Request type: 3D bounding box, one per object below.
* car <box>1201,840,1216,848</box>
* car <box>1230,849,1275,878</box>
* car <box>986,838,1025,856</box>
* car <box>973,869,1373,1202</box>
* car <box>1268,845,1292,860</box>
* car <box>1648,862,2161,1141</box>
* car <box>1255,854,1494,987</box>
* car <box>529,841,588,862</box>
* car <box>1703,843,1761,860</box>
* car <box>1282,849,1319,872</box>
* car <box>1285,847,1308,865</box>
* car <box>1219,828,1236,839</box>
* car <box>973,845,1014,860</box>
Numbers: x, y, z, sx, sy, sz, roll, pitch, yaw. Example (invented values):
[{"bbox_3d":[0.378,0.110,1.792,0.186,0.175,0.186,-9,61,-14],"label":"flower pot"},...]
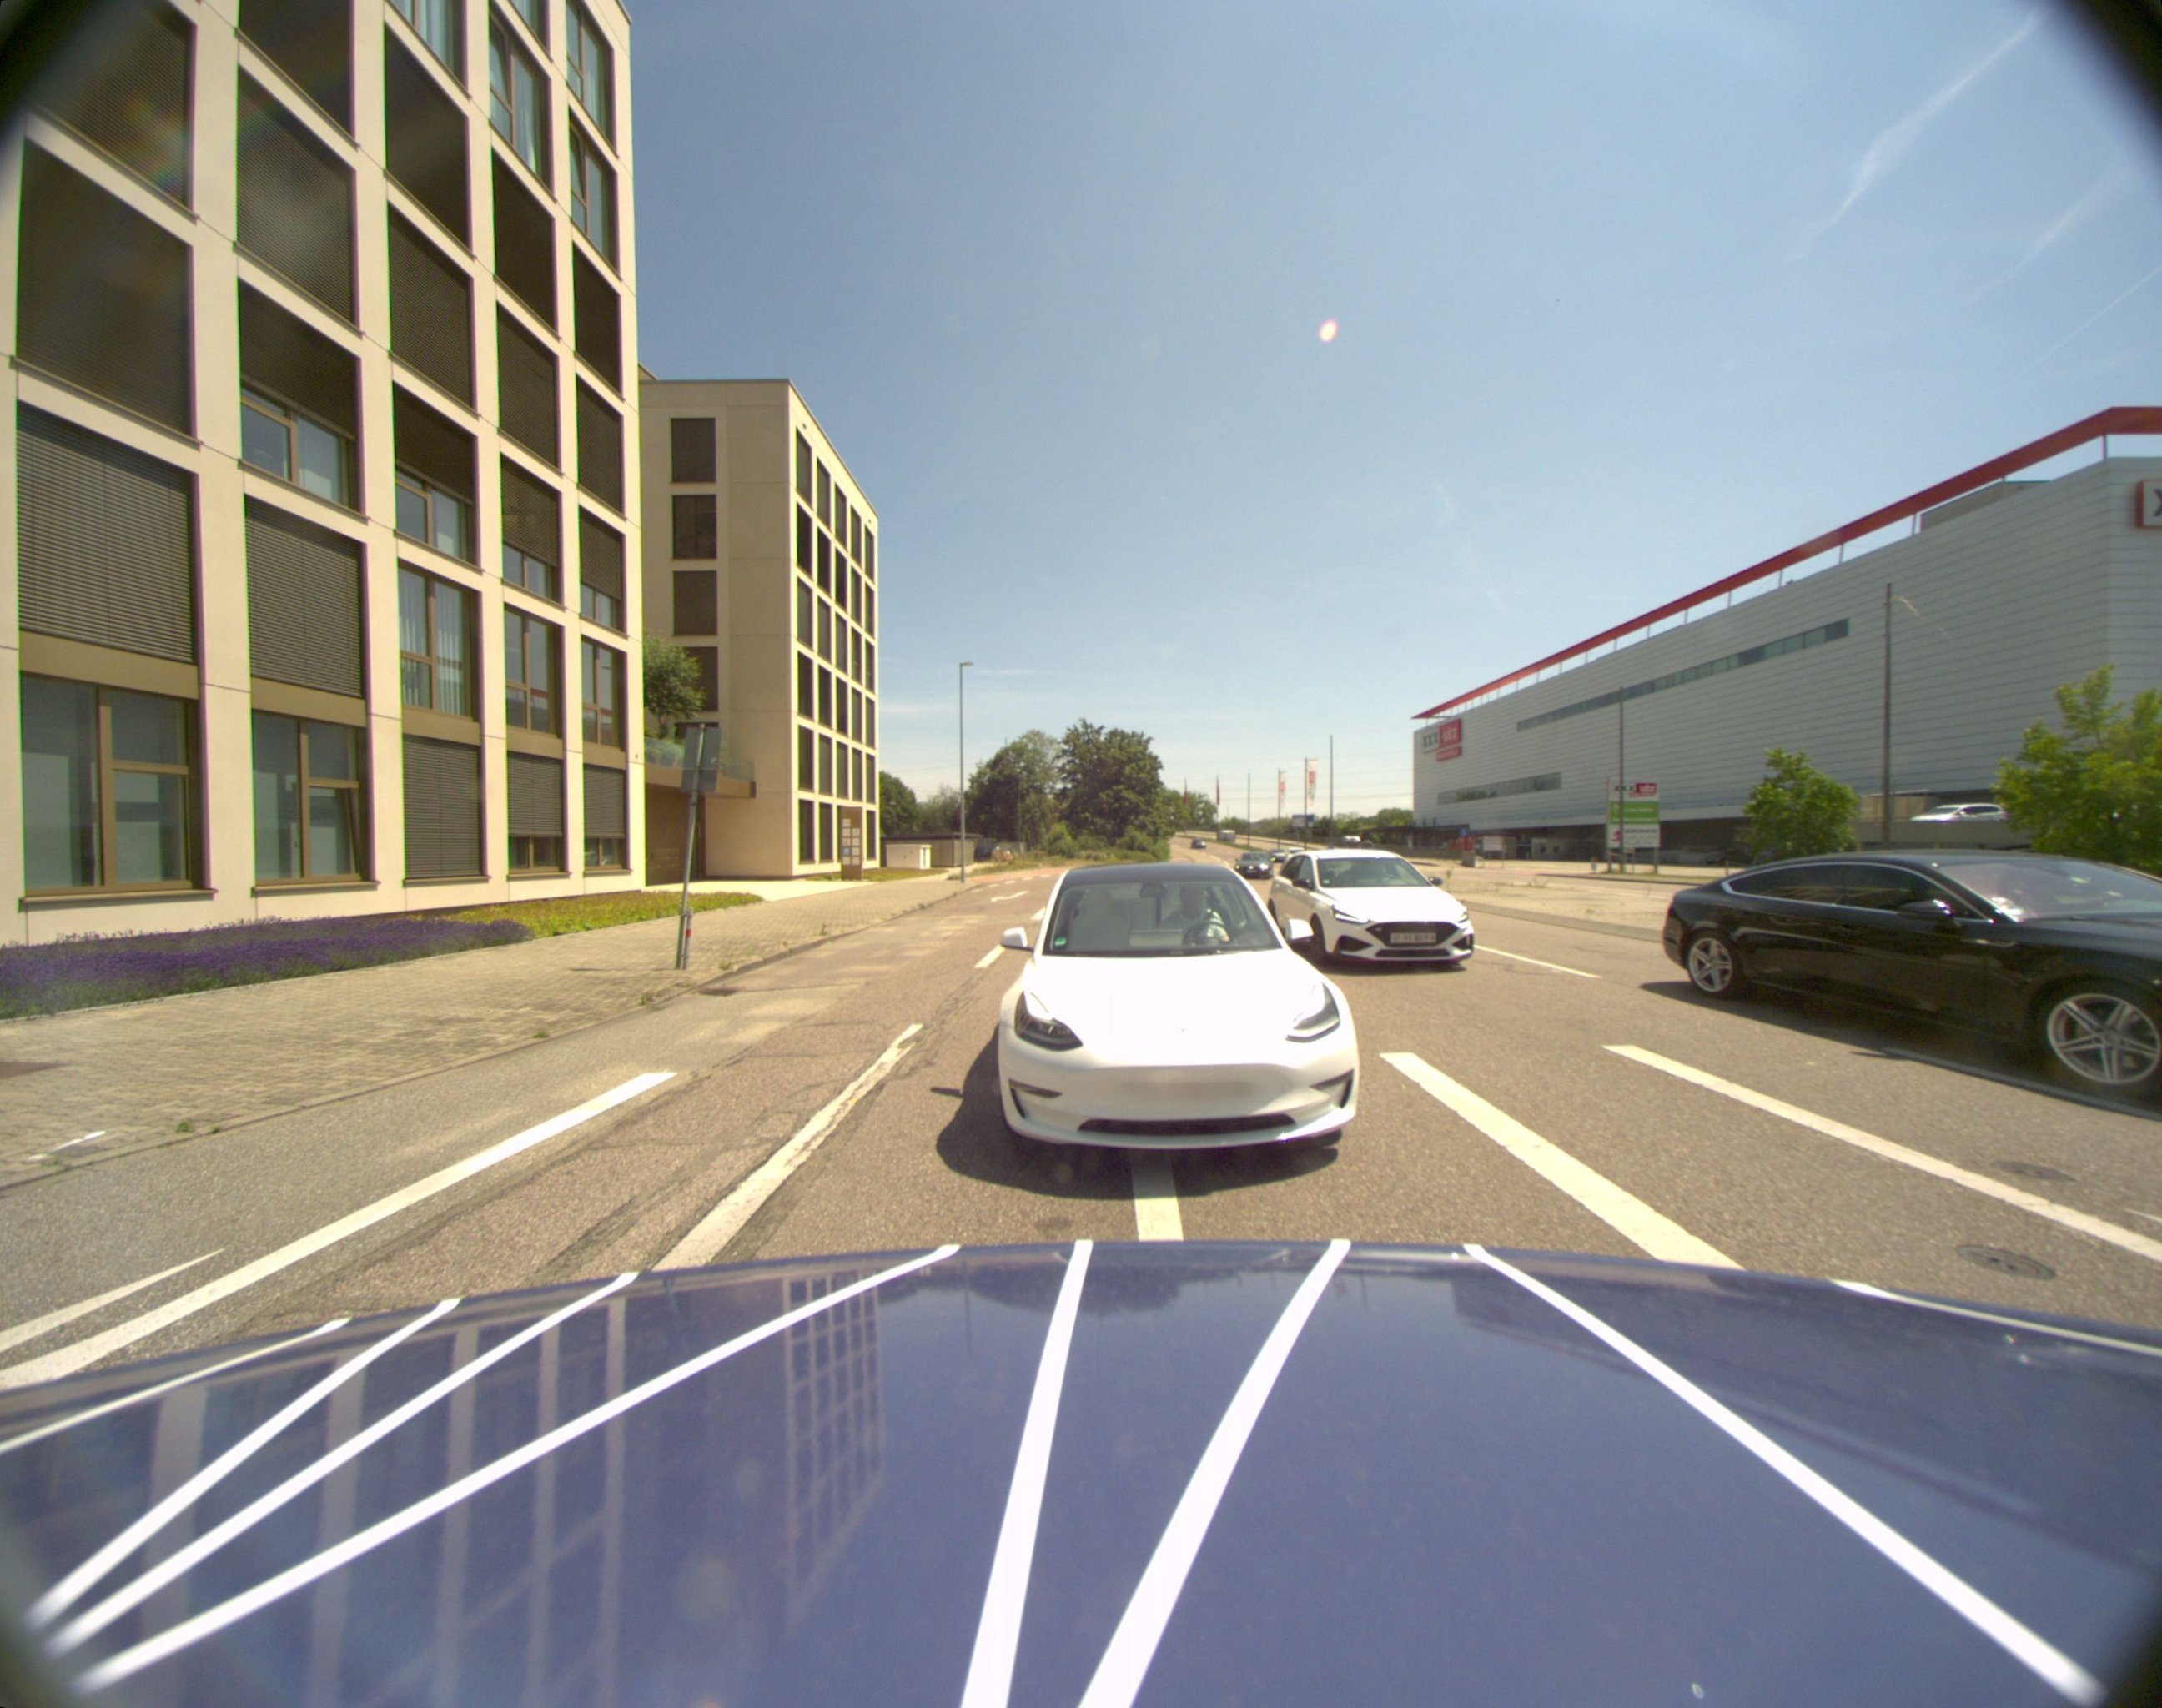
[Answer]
[{"bbox_3d":[19.295,-1.530,115.503,1.475,1.183,3.350,-3,2,-4],"label":"car"},{"bbox_3d":[8.852,0.470,39.495,1.800,1.369,4.408,0,1,6],"label":"car"},{"bbox_3d":[-8.592,-0.781,86.094,4.005,1.942,1.996,0,1,-24],"label":"car"},{"bbox_3d":[0.396,0.910,5.833,1.880,1.417,4.405,-2,0,-1],"label":"car"},{"bbox_3d":[21.701,-0.202,82.958,1.837,1.652,4.001,0,1,6],"label":"car"},{"bbox_3d":[6.582,0.791,5.464,1.752,1.382,4.534,-1,0,3],"label":"car"},{"bbox_3d":[3.786,0.747,10.656,1.735,1.441,4.230,-1,0,1],"label":"car"},{"bbox_3d":[-46.348,-0.225,67.485,1.997,1.841,4.003,0,1,10],"label":"car"},{"bbox_3d":[61.084,-0.253,71.360,3.746,1.611,1.912,0,1,1],"label":"car"},{"bbox_3d":[14.332,0.386,49.837,1.800,1.405,4.409,0,1,9],"label":"car"},{"bbox_3d":[18.967,0.152,67.055,1.677,1.566,4.060,-1,1,13],"label":"car"},{"bbox_3d":[25.805,-3.569,133.883,1.836,1.840,4.837,0,1,-5],"label":"car"},{"bbox_3d":[-9.431,-0.173,82.088,4.005,1.652,1.834,0,1,-23],"label":"car"}]
